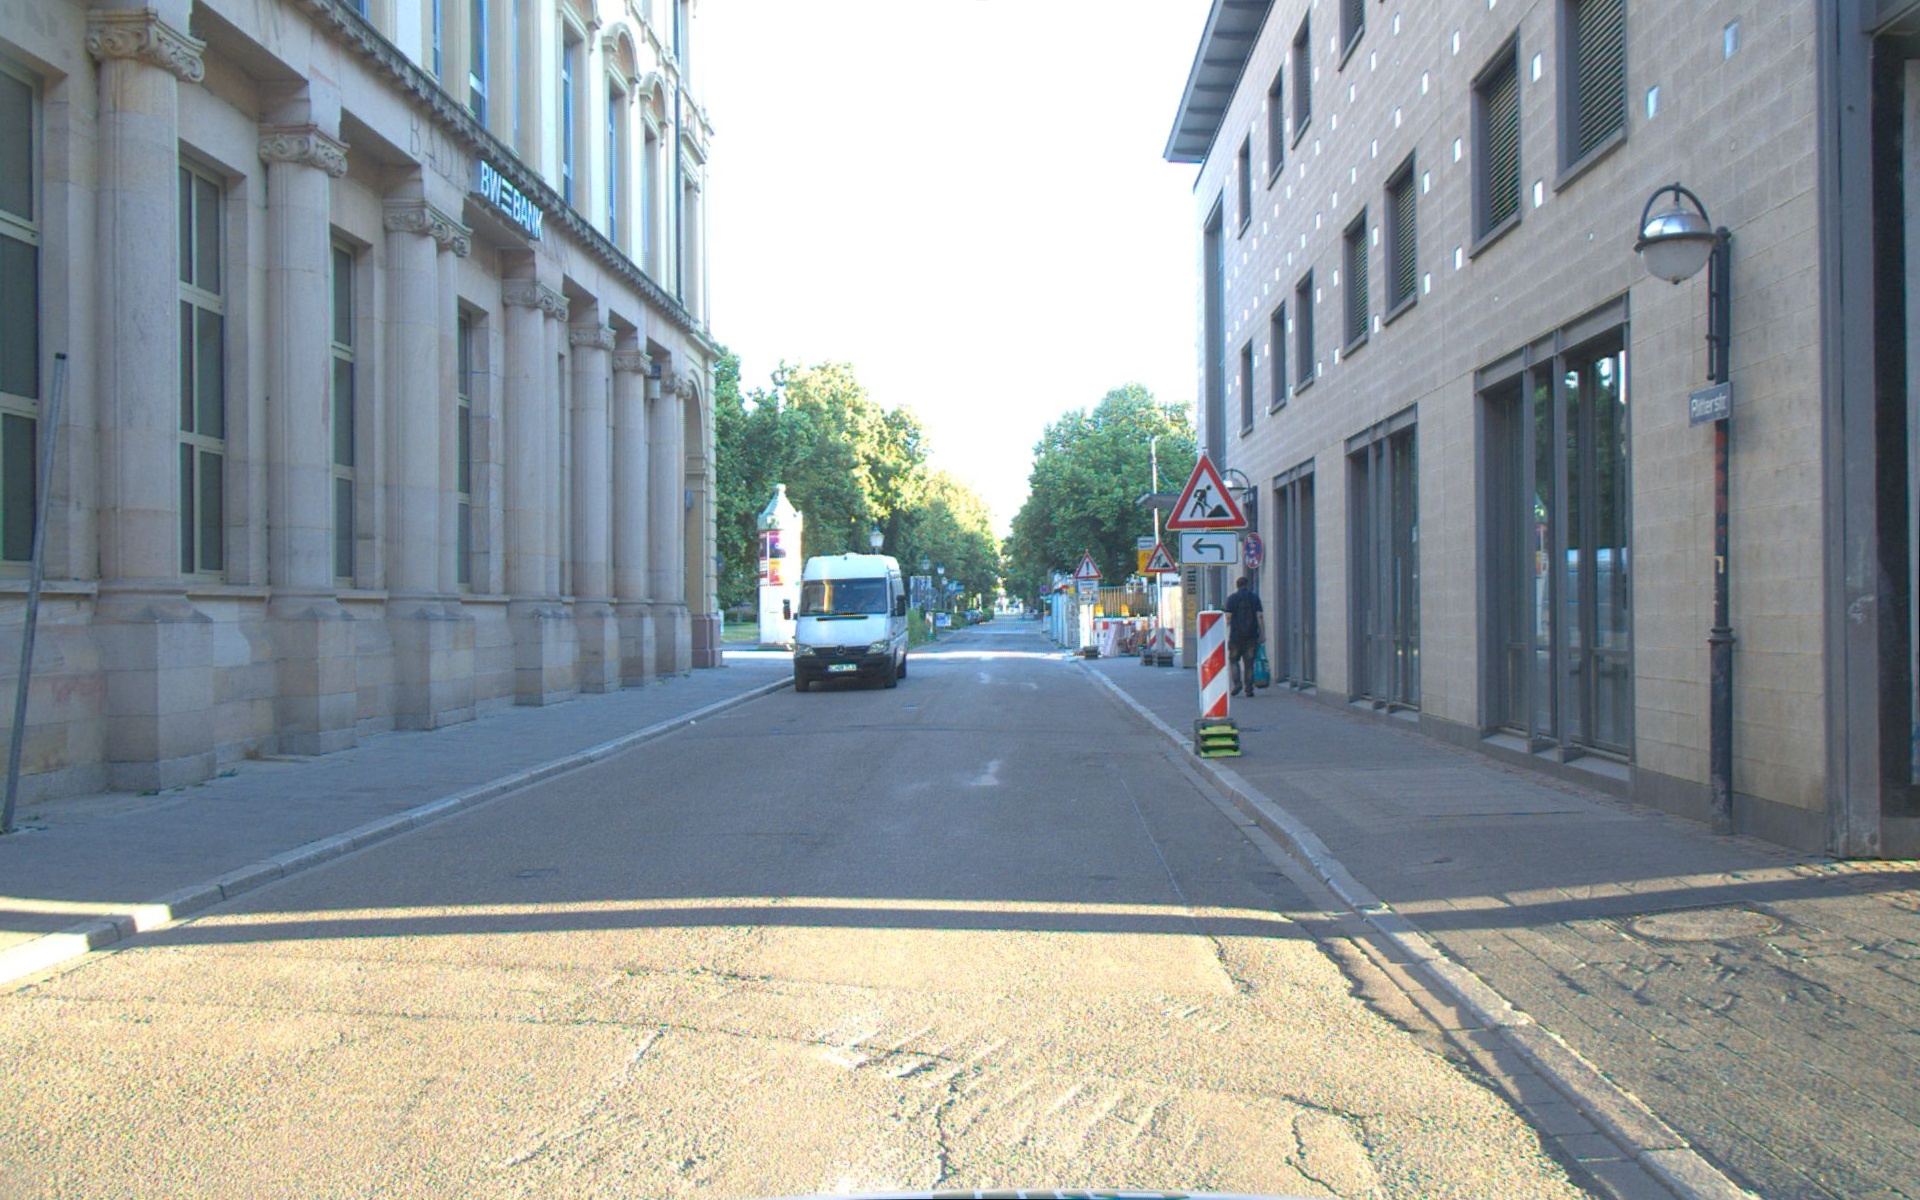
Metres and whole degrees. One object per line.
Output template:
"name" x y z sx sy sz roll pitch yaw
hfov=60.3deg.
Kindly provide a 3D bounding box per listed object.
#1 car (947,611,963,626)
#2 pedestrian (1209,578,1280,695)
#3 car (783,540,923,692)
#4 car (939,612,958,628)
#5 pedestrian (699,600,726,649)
"car" -0.468 1.764 161.277 1.437 1.429 3.679 0 0 1
"pedestrian" 4.363 0.550 25.394 0.904 1.732 0.868 -2 -1 1
"car" -1.986 0.292 32.713 1.955 2.555 6.471 -4 0 2
"car" -0.915 1.612 135.227 1.437 1.278 3.679 0 0 1
"pedestrian" -8.882 0.890 59.448 0.730 1.732 0.703 -2 -1 8
